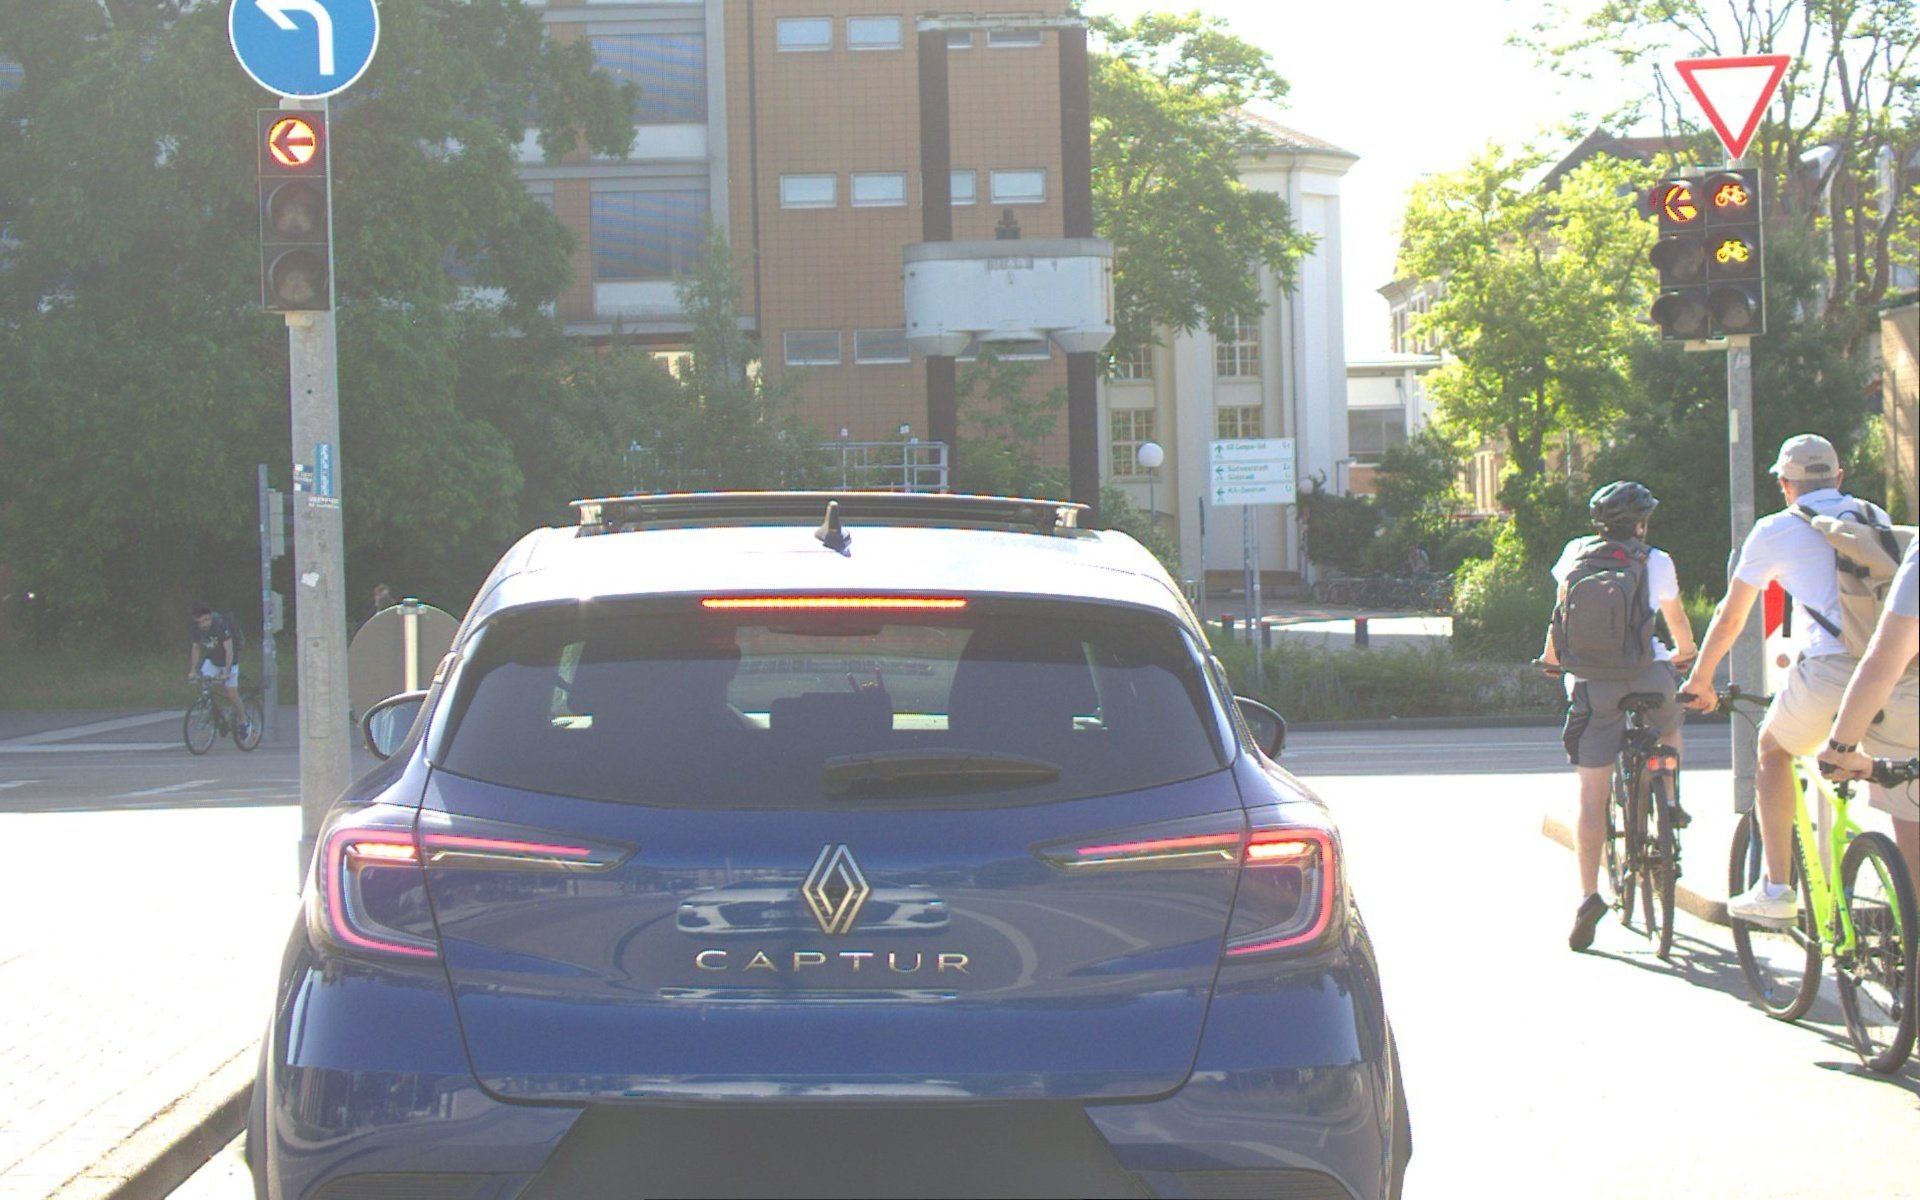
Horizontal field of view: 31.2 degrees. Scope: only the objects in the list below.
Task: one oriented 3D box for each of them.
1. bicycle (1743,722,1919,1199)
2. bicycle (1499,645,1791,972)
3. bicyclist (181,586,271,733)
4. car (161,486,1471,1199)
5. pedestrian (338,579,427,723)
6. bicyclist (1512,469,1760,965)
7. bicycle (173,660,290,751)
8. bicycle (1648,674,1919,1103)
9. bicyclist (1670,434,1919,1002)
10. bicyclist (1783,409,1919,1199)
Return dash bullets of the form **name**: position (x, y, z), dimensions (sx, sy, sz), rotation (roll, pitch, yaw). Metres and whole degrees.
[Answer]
- **bicycle**: position (2.237, 0.848, 7.300), dimensions (0.689, 1.085, 1.922), rotation (0, 1, -1)
- **bicycle**: position (2.526, 0.736, 12.885), dimensions (0.689, 1.085, 1.922), rotation (0, 1, -1)
- **bicyclist**: position (-8.723, 0.696, 40.881), dimensions (0.755, 1.710, 0.998), rotation (-1, 1, 5)
- **car**: position (-0.274, 0.612, 6.660), dimensions (1.788, 1.580, 3.915), rotation (0, 1, -2)
- **pedestrian**: position (-7.564, 0.663, 45.048), dimensions (0.814, 1.856, 0.909), rotation (-1, 1, 13)
- **bicyclist**: position (2.526, 0.414, 12.948), dimensions (0.699, 1.785, 1.142), rotation (0, 1, -1)
- **bicycle**: position (-8.691, 1.244, 41.110), dimensions (0.755, 0.981, 2.093), rotation (-1, 1, 5)
- **bicycle**: position (2.587, 0.796, 10.189), dimensions (0.689, 1.085, 1.922), rotation (0, 1, -1)
- **bicyclist**: position (2.573, 0.323, 10.202), dimensions (0.678, 1.589, 1.142), rotation (0, 1, -1)
- **bicyclist**: position (2.238, 0.507, 7.323), dimensions (0.683, 1.785, 1.142), rotation (0, 1, -1)
